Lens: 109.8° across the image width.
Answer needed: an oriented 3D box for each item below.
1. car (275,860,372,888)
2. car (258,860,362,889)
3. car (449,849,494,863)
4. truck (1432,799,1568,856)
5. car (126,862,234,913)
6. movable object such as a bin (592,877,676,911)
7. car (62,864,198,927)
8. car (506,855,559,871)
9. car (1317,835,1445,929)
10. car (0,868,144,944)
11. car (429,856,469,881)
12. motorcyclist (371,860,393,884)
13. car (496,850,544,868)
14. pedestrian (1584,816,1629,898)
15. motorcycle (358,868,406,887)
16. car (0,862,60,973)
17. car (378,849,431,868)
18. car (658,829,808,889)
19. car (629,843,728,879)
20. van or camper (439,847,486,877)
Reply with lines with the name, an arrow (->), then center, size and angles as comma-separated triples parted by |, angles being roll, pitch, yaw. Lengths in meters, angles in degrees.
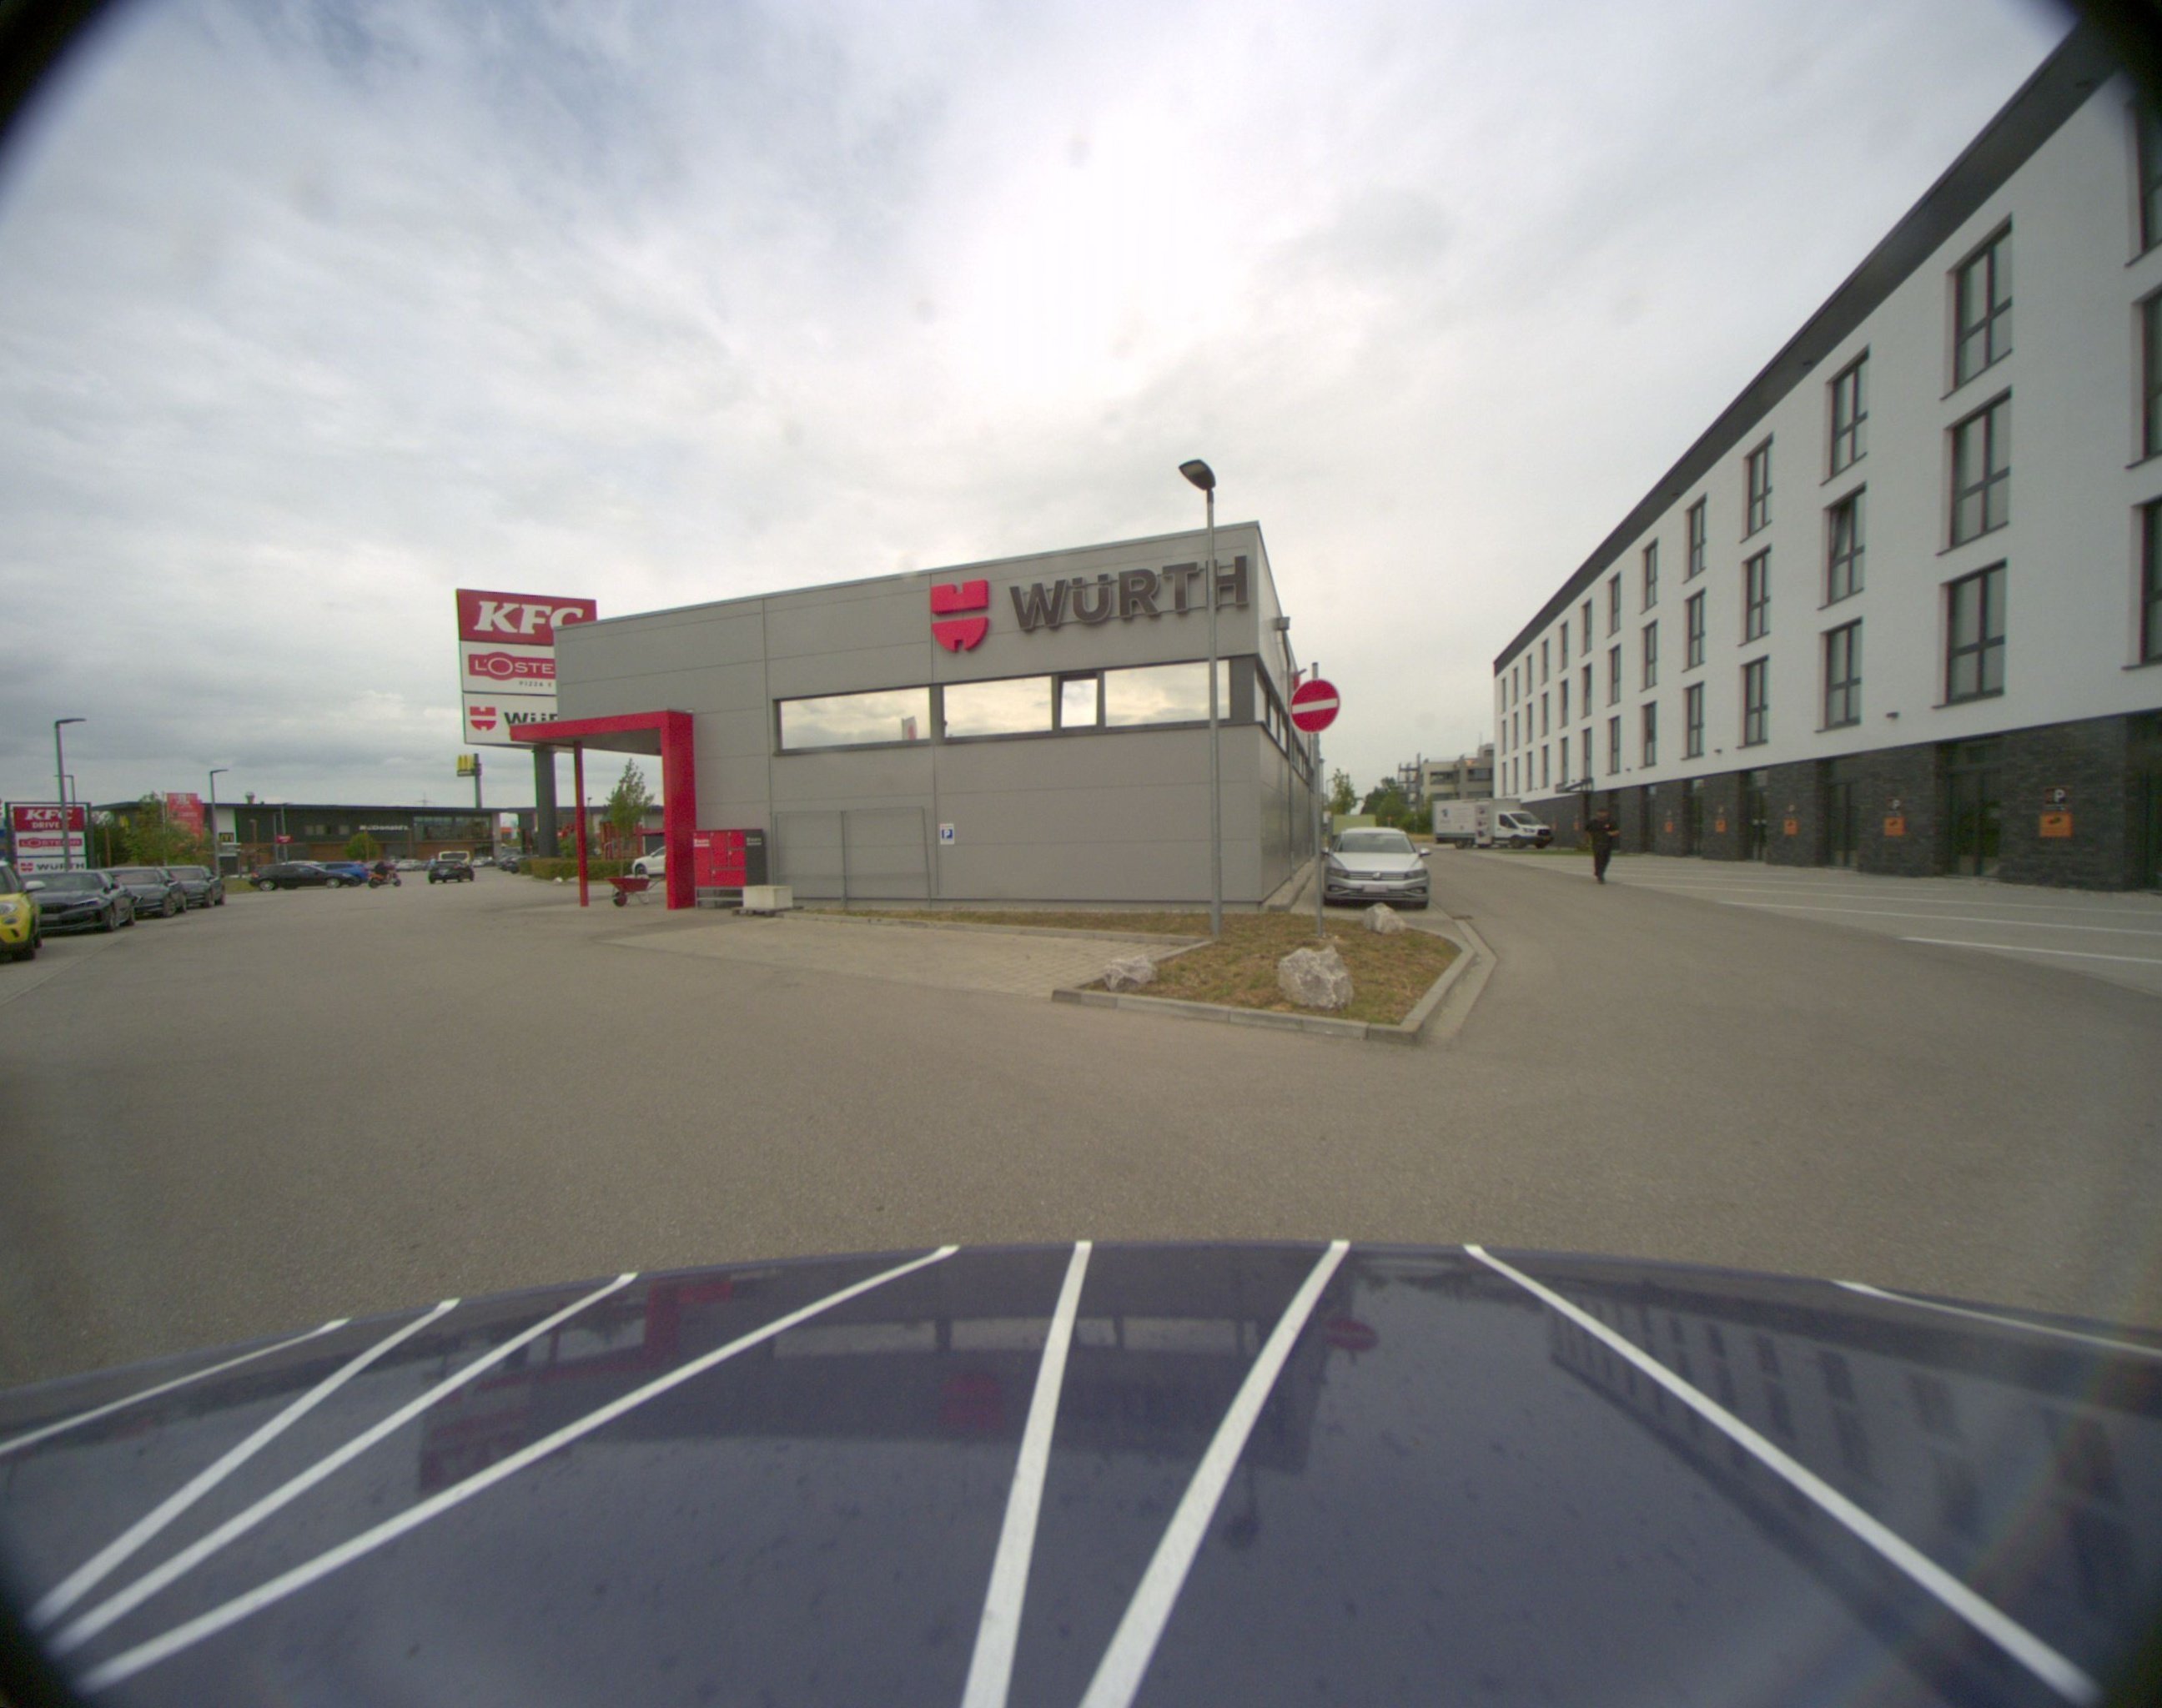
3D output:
car -> -45.792, 1.190, 46.043 | 4.007, 1.412, 1.805 | -3, 2, -41
car -> -44.407, 1.162, 43.905 | 4.007, 1.412, 1.805 | -3, 2, -41
car -> -77.564, 0.228, 96.747 | 4.001, 1.653, 1.997 | -2, 2, -11
truck -> 24.081, -1.485, 44.135 | 2.439, 3.000, 7.055 | -3, 2, -20
car -> -30.927, 1.077, 26.214 | 1.756, 1.482, 4.474 | -4, 3, -42
movable object such as a bin -> -10.788, 0.947, 18.397 | 0.802, 0.712, 1.587 | -1, 1, 20
car -> -27.223, 1.098, 21.915 | 1.756, 1.482, 4.619 | -4, 3, -44
car -> -48.022, 0.773, 66.534 | 1.495, 1.288, 3.449 | 0, 3, 40
car -> 6.139, 0.401, 15.182 | 1.975, 1.483, 4.778 | 2, 3, 26
car -> -22.974, 1.087, 17.223 | 4.293, 1.408, 1.756 | 0, 3, 44
car -> -38.501, 0.840, 46.353 | 1.509, 1.439, 3.117 | -1, 1, -33
motorcyclist -> -38.315, 0.993, 41.651 | 0.574, 1.308, 0.674 | -1, 2, 23
car -> -65.677, 0.553, 89.023 | 1.994, 1.827, 4.007 | 0, 2, 35
pedestrian -> 12.038, 0.058, 17.420 | 0.708, 1.812, 0.814 | 0, 2, 25
motorcycle -> -38.314, 1.290, 41.676 | 0.555, 0.911, 1.871 | -1, 2, 22
car -> -18.693, 1.025, 12.682 | 4.286, 1.674, 1.756 | 0, 3, 38
car -> -79.018, 0.528, 88.798 | 4.001, 2.002, 1.997 | -2, 2, -11
car -> -12.543, 0.164, 27.456 | 4.749, 2.002, 1.939 | -1, 2, 17
car -> -20.690, 0.363, 39.055 | 4.731, 1.739, 1.760 | -1, 2, 22
van or camper -> -45.458, 0.572, 55.934 | 1.862, 2.050, 5.221 | -3, 2, -31
